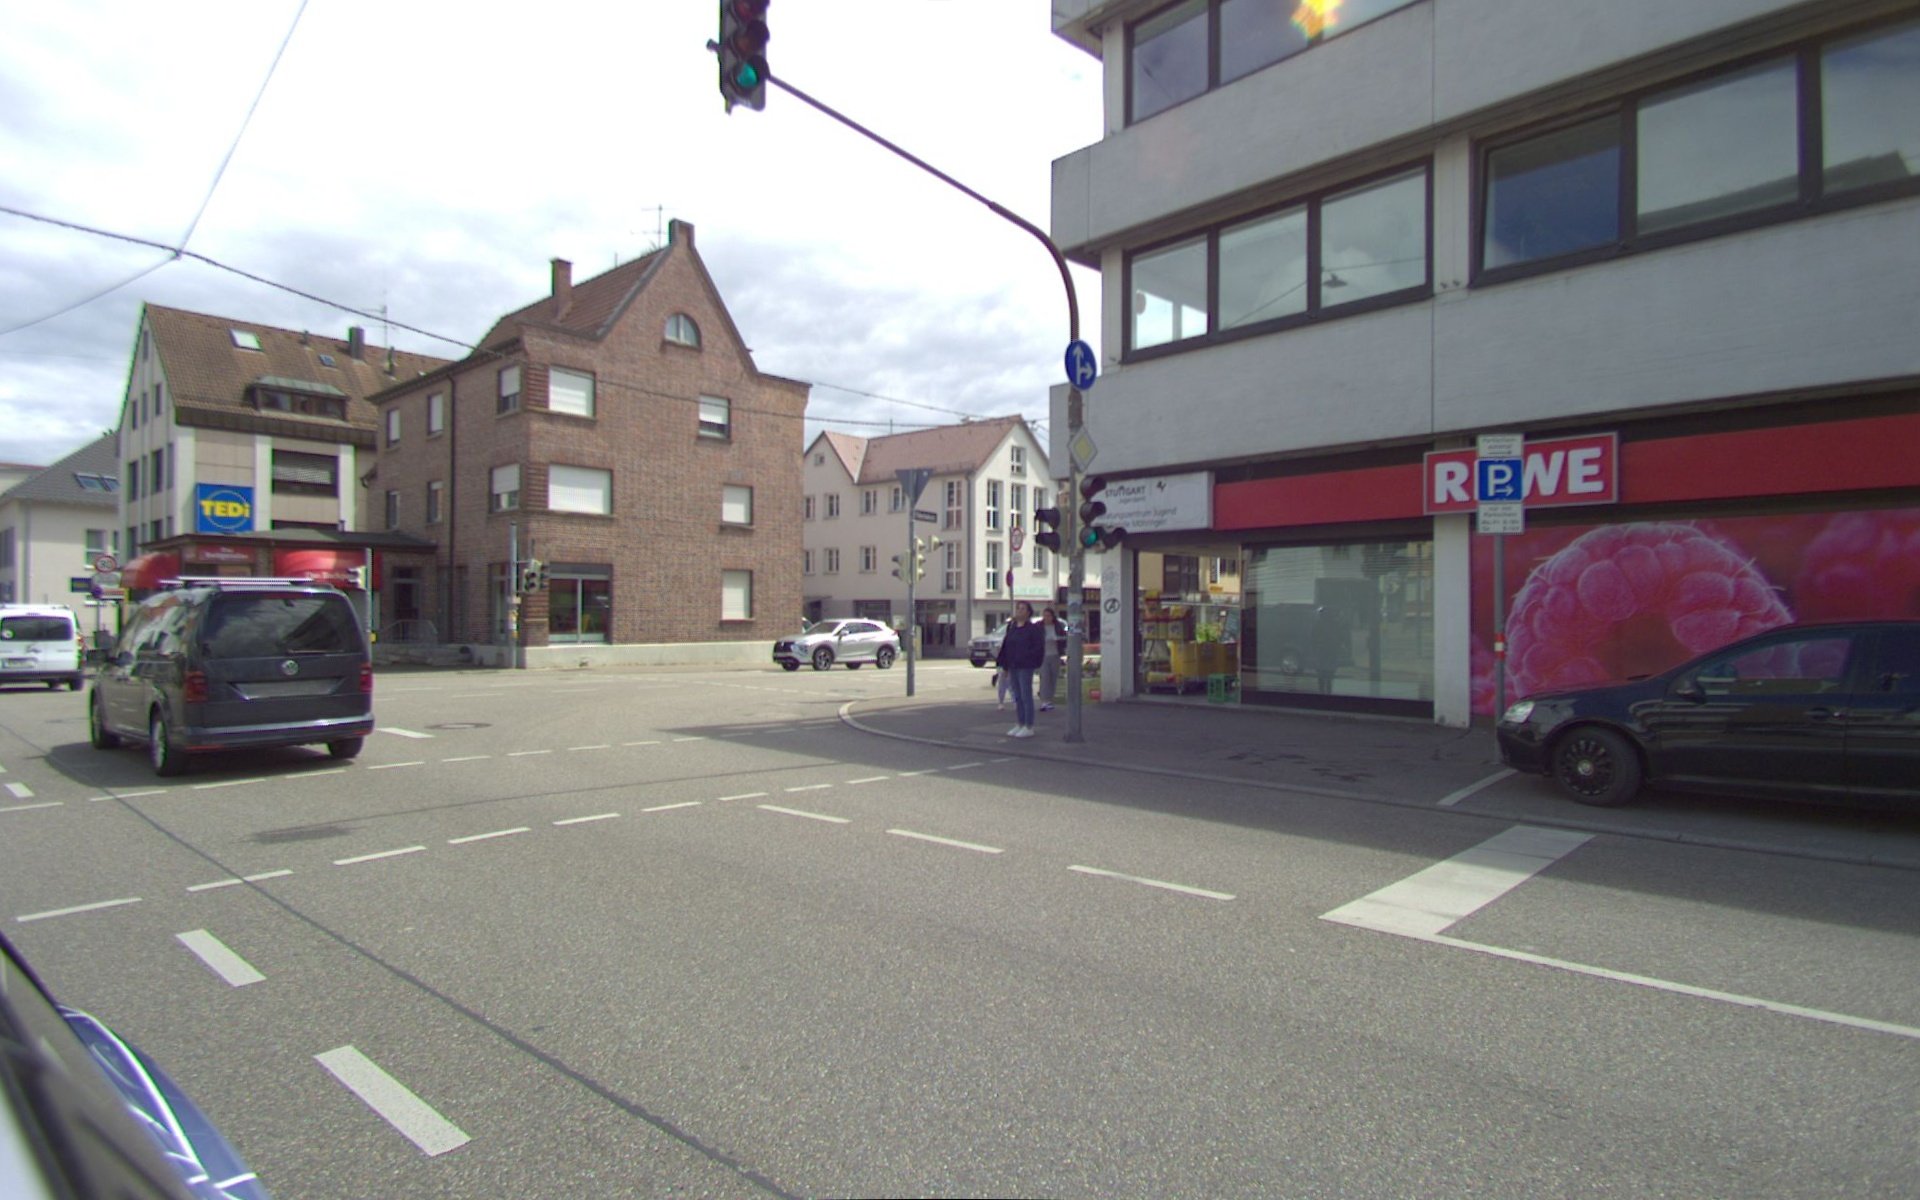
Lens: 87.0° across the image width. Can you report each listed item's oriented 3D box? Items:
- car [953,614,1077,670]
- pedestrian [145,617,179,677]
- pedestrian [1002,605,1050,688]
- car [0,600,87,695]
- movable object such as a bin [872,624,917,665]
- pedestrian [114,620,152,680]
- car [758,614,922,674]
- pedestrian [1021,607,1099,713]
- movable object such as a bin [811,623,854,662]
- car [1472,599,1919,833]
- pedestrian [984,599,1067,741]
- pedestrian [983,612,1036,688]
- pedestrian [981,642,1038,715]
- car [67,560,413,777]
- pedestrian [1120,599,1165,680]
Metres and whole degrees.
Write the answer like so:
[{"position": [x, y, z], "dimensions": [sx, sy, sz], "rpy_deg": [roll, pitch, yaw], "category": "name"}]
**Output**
[{"position": [1.913, 1.417, 34.229], "dimensions": [1.999, 1.768, 4.291], "rpy_deg": [-2, -3, 41], "category": "car"}, {"position": [-23.394, 1.366, 29.660], "dimensions": [0.674, 1.729, 0.878], "rpy_deg": [2, -3, -43], "category": "pedestrian"}, {"position": [1.438, 0.988, 21.925], "dimensions": [0.815, 1.753, 0.840], "rpy_deg": [-1, -1, 21], "category": "pedestrian"}, {"position": [-21.069, 1.034, 22.619], "dimensions": [4.111, 1.945, 1.795], "rpy_deg": [-2, -3, 42], "category": "car"}, {"position": [-2.738, 1.835, 42.427], "dimensions": [1.145, 1.637, 1.498], "rpy_deg": [-1, 0, 44], "category": "movable object such as a bin"}, {"position": [-23.887, 1.427, 29.247], "dimensions": [0.768, 1.708, 0.796], "rpy_deg": [2, -3, -43], "category": "pedestrian"}, {"position": [-3.792, 1.395, 32.711], "dimensions": [2.000, 1.782, 5.184], "rpy_deg": [-3, -3, 44], "category": "car"}, {"position": [1.536, 0.899, 15.607], "dimensions": [0.809, 1.566, 0.846], "rpy_deg": [-1, -1, -43], "category": "pedestrian"}, {"position": [-5.644, 1.876, 44.737], "dimensions": [1.145, 1.637, 1.498], "rpy_deg": [-1, 0, 44], "category": "movable object such as a bin"}, {"position": [6.443, 0.752, 7.547], "dimensions": [4.285, 1.486, 2.022], "rpy_deg": [-2, -1, 43], "category": "car"}, {"position": [0.802, 0.831, 12.351], "dimensions": [0.709, 1.657, 0.682], "rpy_deg": [0, -1, -44], "category": "pedestrian"}, {"position": [1.118, 1.107, 22.760], "dimensions": [0.832, 1.663, 0.823], "rpy_deg": [-1, -1, -37], "category": "pedestrian"}, {"position": [0.764, 1.191, 15.535], "dimensions": [0.552, 1.065, 0.663], "rpy_deg": [-1, -1, -43], "category": "pedestrian"}, {"position": [-8.059, 0.659, 11.133], "dimensions": [4.873, 1.891, 1.929], "rpy_deg": [-1, -2, 40], "category": "car"}, {"position": [4.059, 0.873, 22.466], "dimensions": [0.815, 1.753, 0.840], "rpy_deg": [-1, -1, 20], "category": "pedestrian"}]
